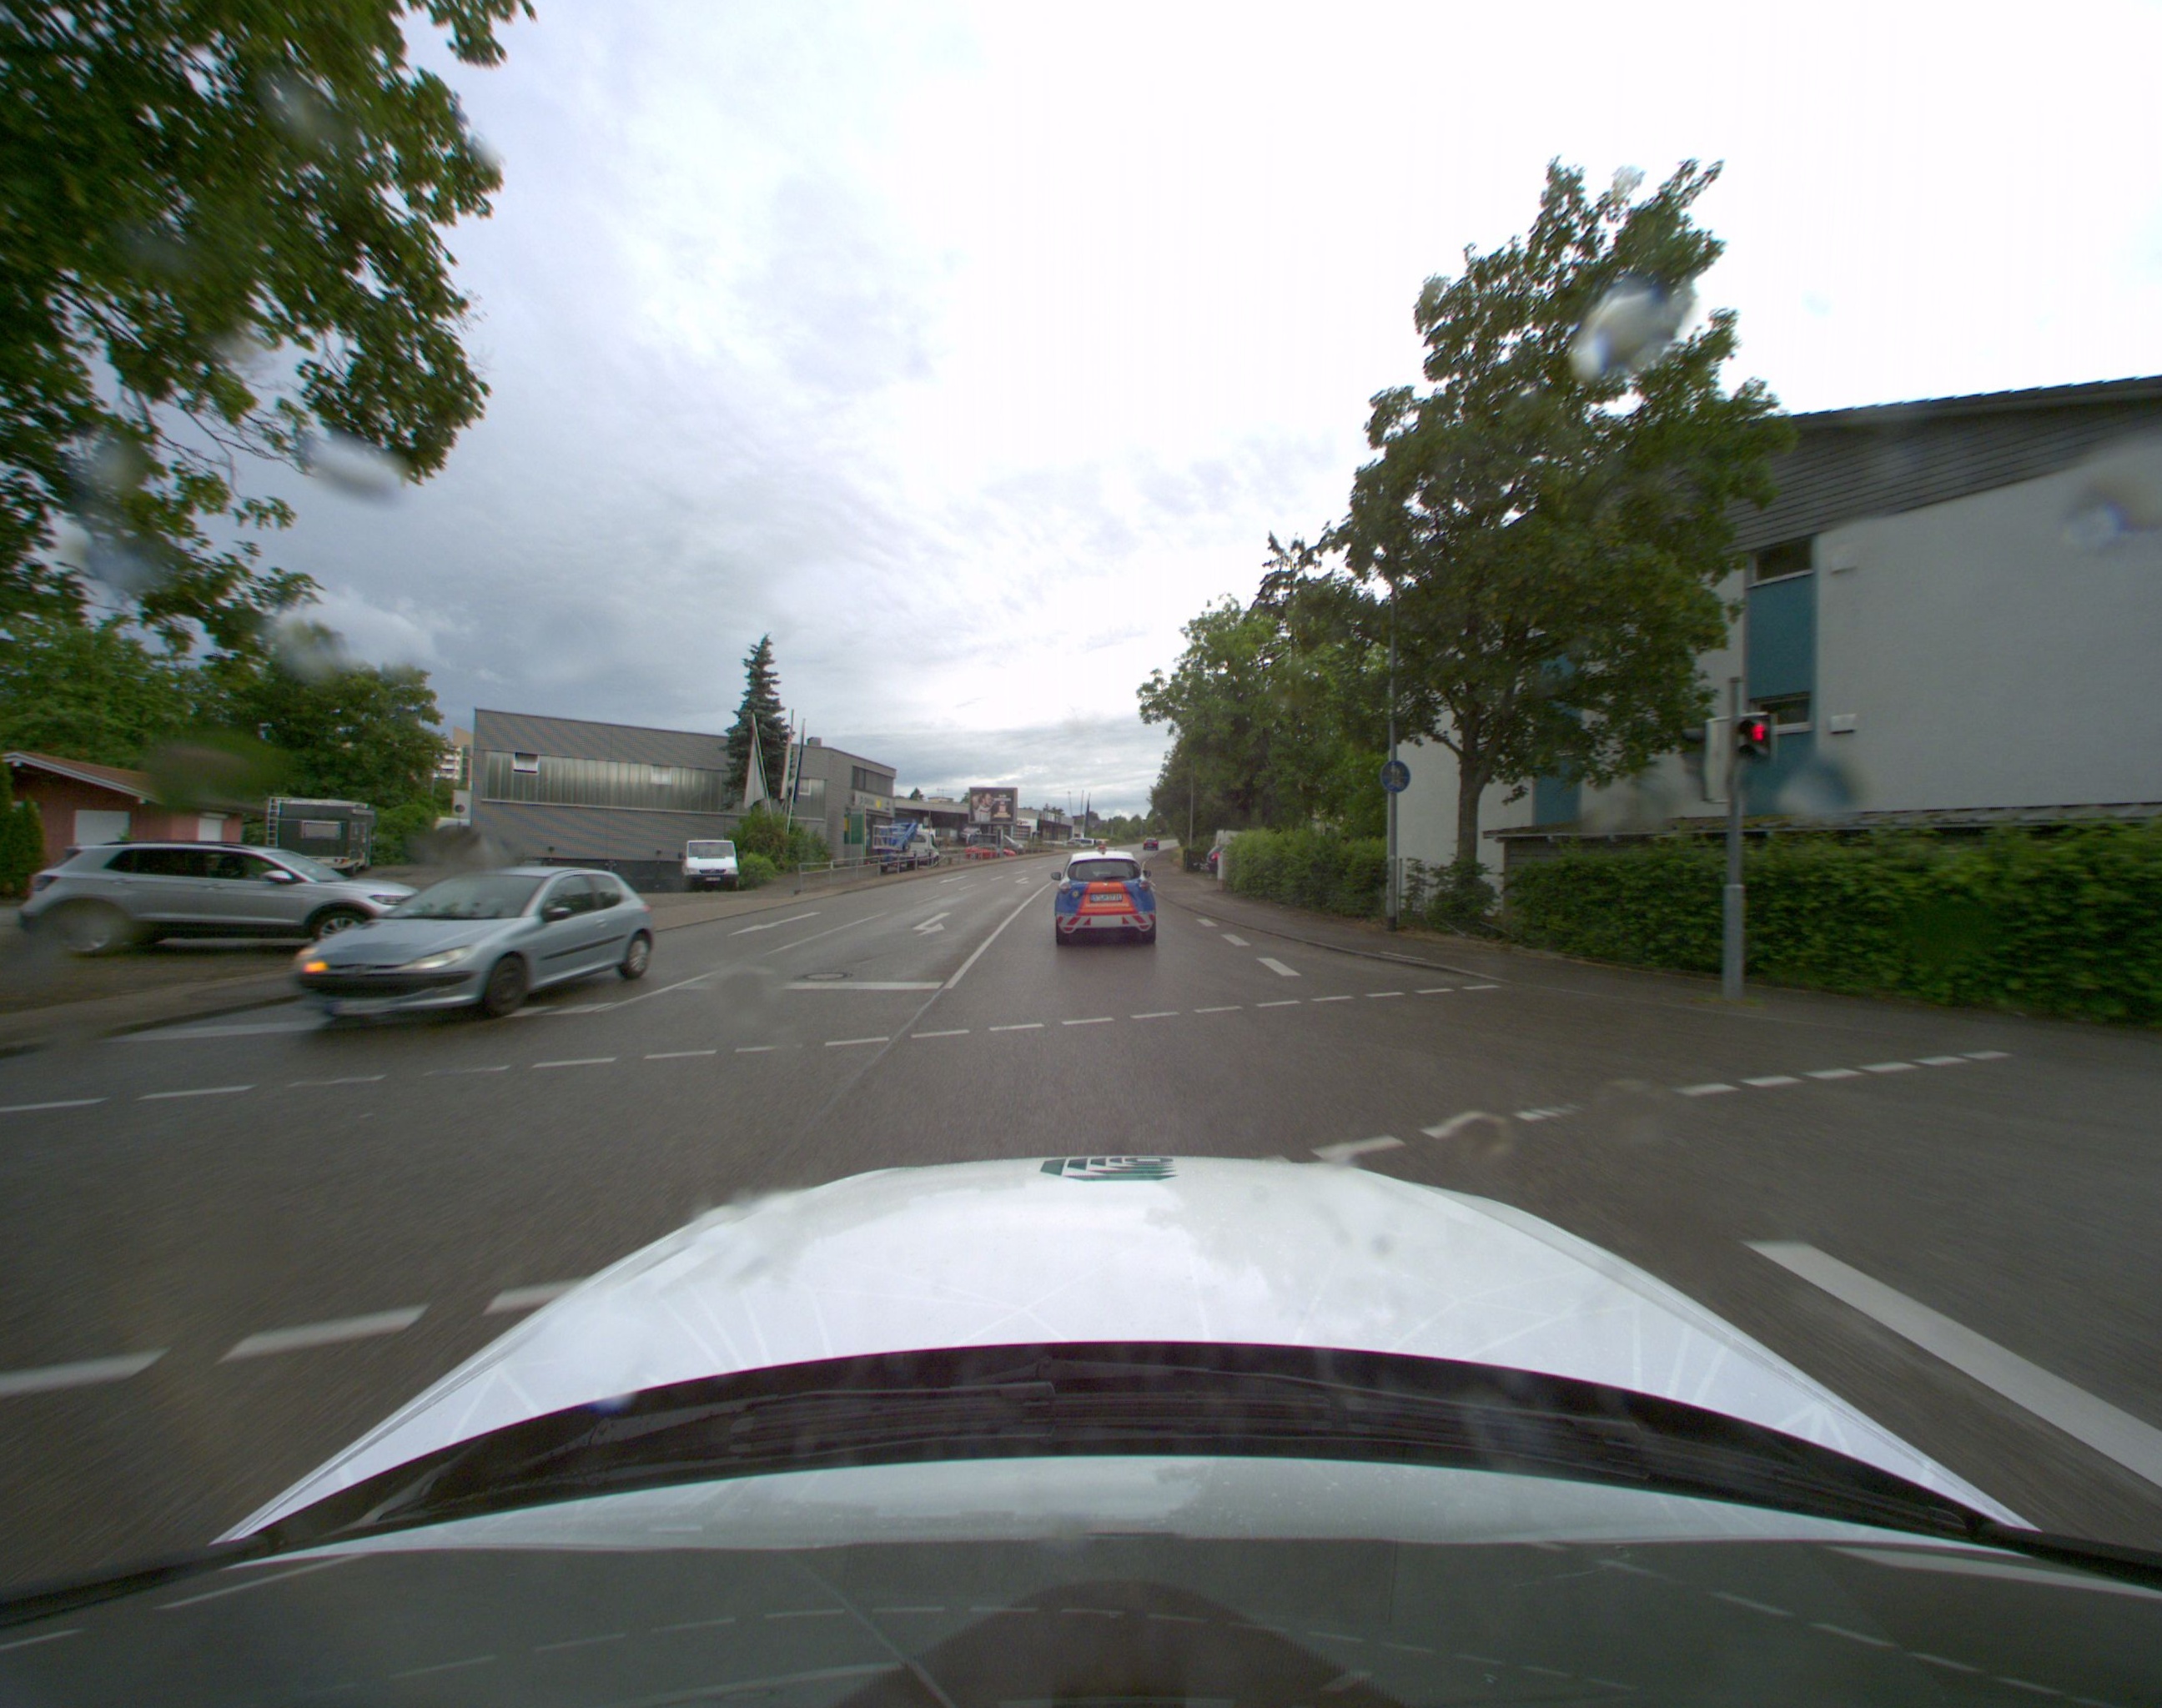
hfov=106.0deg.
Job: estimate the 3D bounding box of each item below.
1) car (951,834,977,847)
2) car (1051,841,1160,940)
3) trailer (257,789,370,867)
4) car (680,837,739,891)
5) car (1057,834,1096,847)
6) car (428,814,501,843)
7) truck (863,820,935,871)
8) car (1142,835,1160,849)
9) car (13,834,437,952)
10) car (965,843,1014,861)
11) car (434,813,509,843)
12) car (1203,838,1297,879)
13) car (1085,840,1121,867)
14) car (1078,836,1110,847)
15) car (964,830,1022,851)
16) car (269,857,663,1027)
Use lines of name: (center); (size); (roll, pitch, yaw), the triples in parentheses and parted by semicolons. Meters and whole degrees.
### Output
car: (-13.801, -1.585, 96.494); (1.580, 1.515, 4.015); (1, 0, 15)
car: (0.327, 0.625, 15.116); (1.741, 1.581, 3.996); (0, -1, -2)
trailer: (-29.856, -0.933, 31.885); (2.631, 2.763, 4.971); (2, -1, -37)
car: (-14.690, 0.350, 32.140); (2.004, 1.994, 3.967); (1, 1, -26)
car: (-0.567, -1.742, 106.665); (4.778, 1.623, 1.800); (2, -1, -25)
car: (-53.256, -2.148, 70.484); (4.673, 2.305, 2.219); (2, -1, -29)
truck: (-9.603, -0.471, 43.493); (1.983, 2.539, 5.570); (1, 1, 7)
car: (8.751, -1.495, 101.514); (1.983, 1.684, 4.008); (1, 0, 7)
car: (-12.542, 0.614, 12.377); (4.012, 1.522, 1.743); (4, -1, -31)
car: (-7.565, -0.162, 67.324); (3.983, 1.376, 1.810); (1, 0, -7)
car: (-50.292, -2.099, 67.315); (4.673, 2.305, 2.029); (2, -1, -29)
car: (7.518, 0.196, 36.553); (3.966, 1.723, 2.004); (1, 1, 6)
car: (1.405, -0.047, 50.263); (1.984, 1.574, 4.006); (1, 1, 5)
car: (2.047, -1.912, 126.924); (4.778, 1.623, 1.800); (2, -1, -25)
car: (-7.585, -1.175, 70.388); (4.739, 1.623, 1.815); (1, -1, 1)
car: (-6.299, 0.781, 8.947); (1.582, 1.404, 3.705); (1, 1, -2)
